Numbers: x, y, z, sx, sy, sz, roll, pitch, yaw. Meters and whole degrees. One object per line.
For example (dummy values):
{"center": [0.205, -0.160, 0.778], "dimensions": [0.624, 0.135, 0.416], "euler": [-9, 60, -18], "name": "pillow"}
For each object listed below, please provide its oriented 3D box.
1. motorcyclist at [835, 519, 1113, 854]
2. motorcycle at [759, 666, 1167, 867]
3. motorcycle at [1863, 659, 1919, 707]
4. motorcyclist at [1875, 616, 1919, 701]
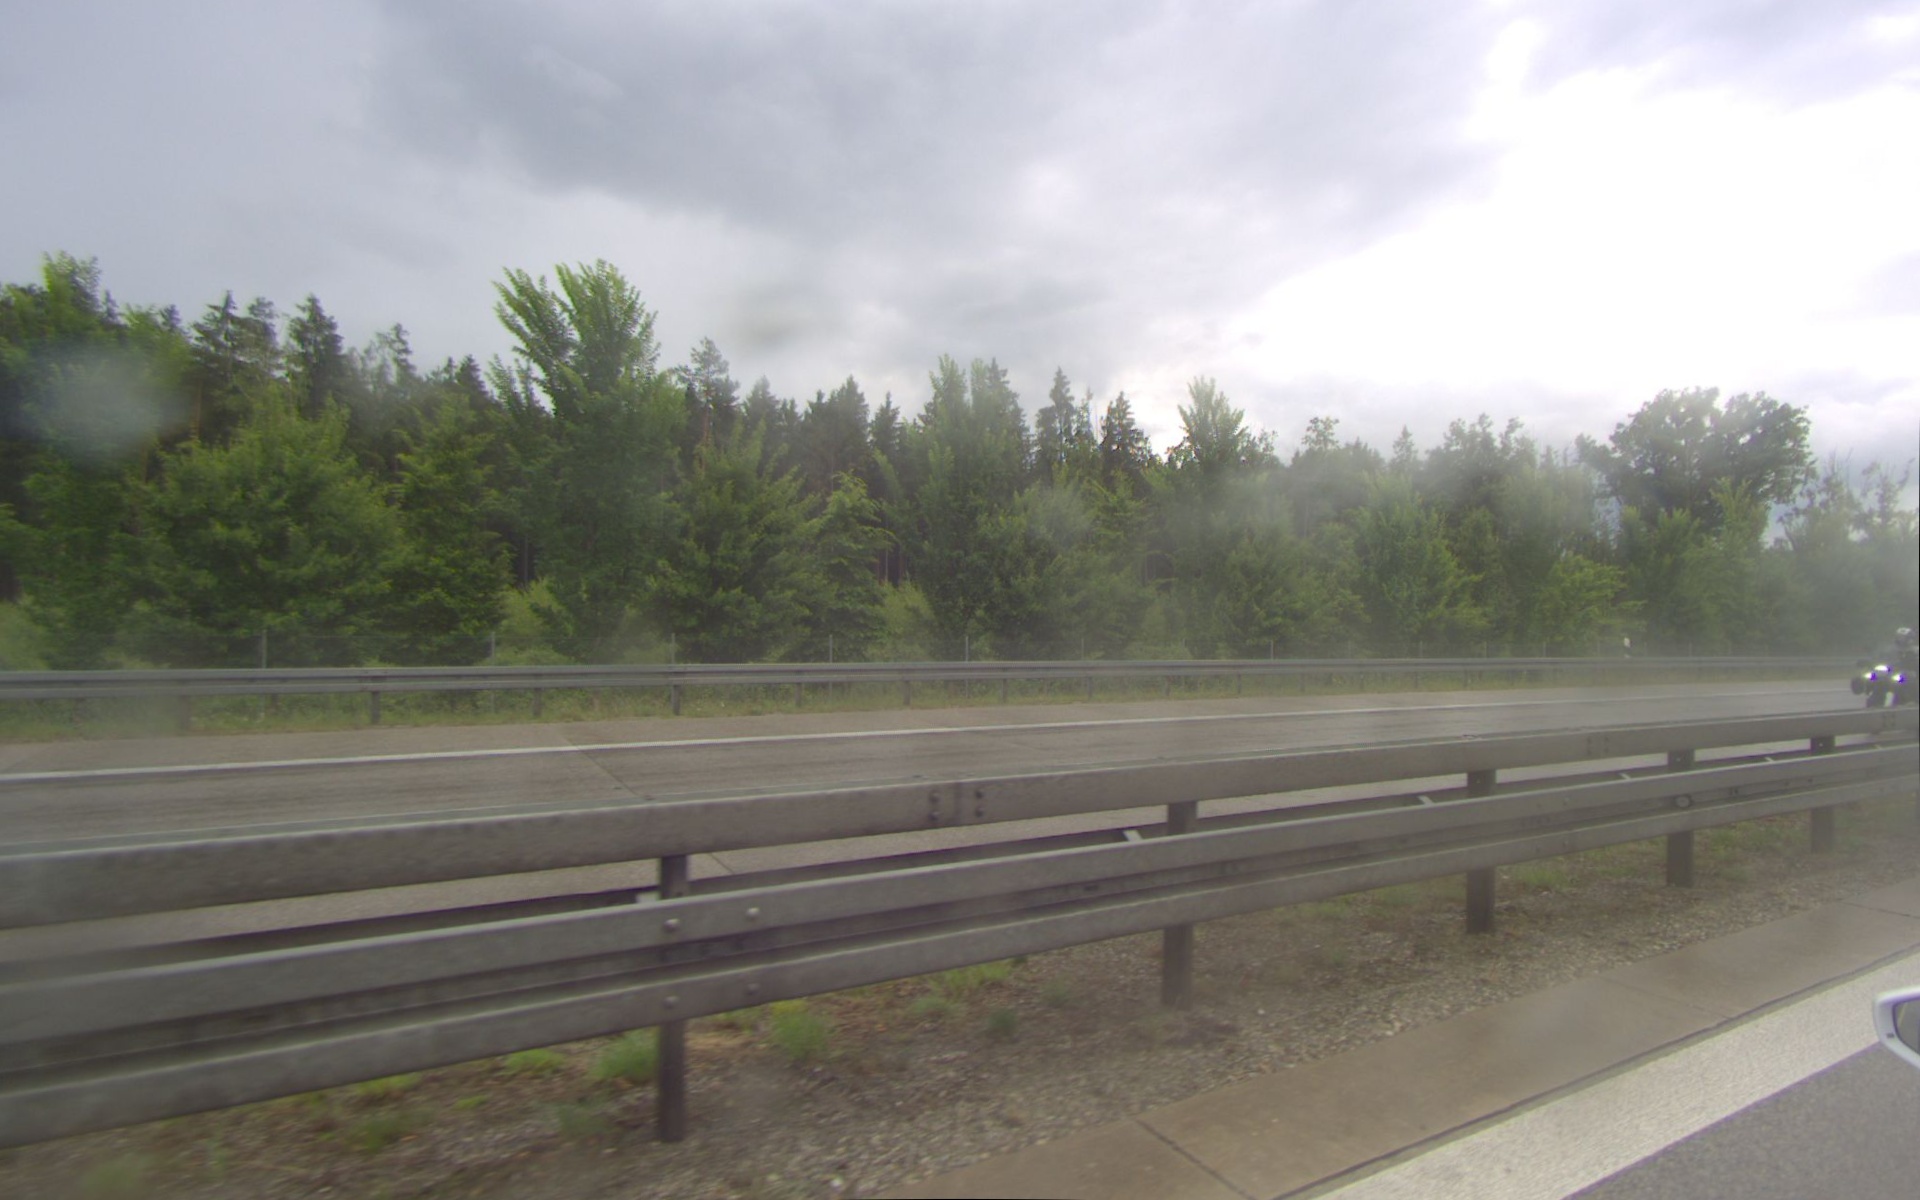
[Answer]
{"center": [0.094, 0.591, 7.755], "dimensions": [1.679, 2.259, 1.254], "euler": [2, 1, -32], "name": "motorcyclist"}
{"center": [0.080, 1.154, 7.764], "dimensions": [2.930, 1.158, 1.258], "euler": [2, 1, -33], "name": "motorcycle"}
{"center": [16.873, 1.439, 17.581], "dimensions": [2.255, 0.735, 1.015], "euler": [2, 1, -33], "name": "motorcycle"}
{"center": [16.813, 1.024, 17.536], "dimensions": [0.911, 1.451, 1.008], "euler": [2, 1, -32], "name": "motorcyclist"}
